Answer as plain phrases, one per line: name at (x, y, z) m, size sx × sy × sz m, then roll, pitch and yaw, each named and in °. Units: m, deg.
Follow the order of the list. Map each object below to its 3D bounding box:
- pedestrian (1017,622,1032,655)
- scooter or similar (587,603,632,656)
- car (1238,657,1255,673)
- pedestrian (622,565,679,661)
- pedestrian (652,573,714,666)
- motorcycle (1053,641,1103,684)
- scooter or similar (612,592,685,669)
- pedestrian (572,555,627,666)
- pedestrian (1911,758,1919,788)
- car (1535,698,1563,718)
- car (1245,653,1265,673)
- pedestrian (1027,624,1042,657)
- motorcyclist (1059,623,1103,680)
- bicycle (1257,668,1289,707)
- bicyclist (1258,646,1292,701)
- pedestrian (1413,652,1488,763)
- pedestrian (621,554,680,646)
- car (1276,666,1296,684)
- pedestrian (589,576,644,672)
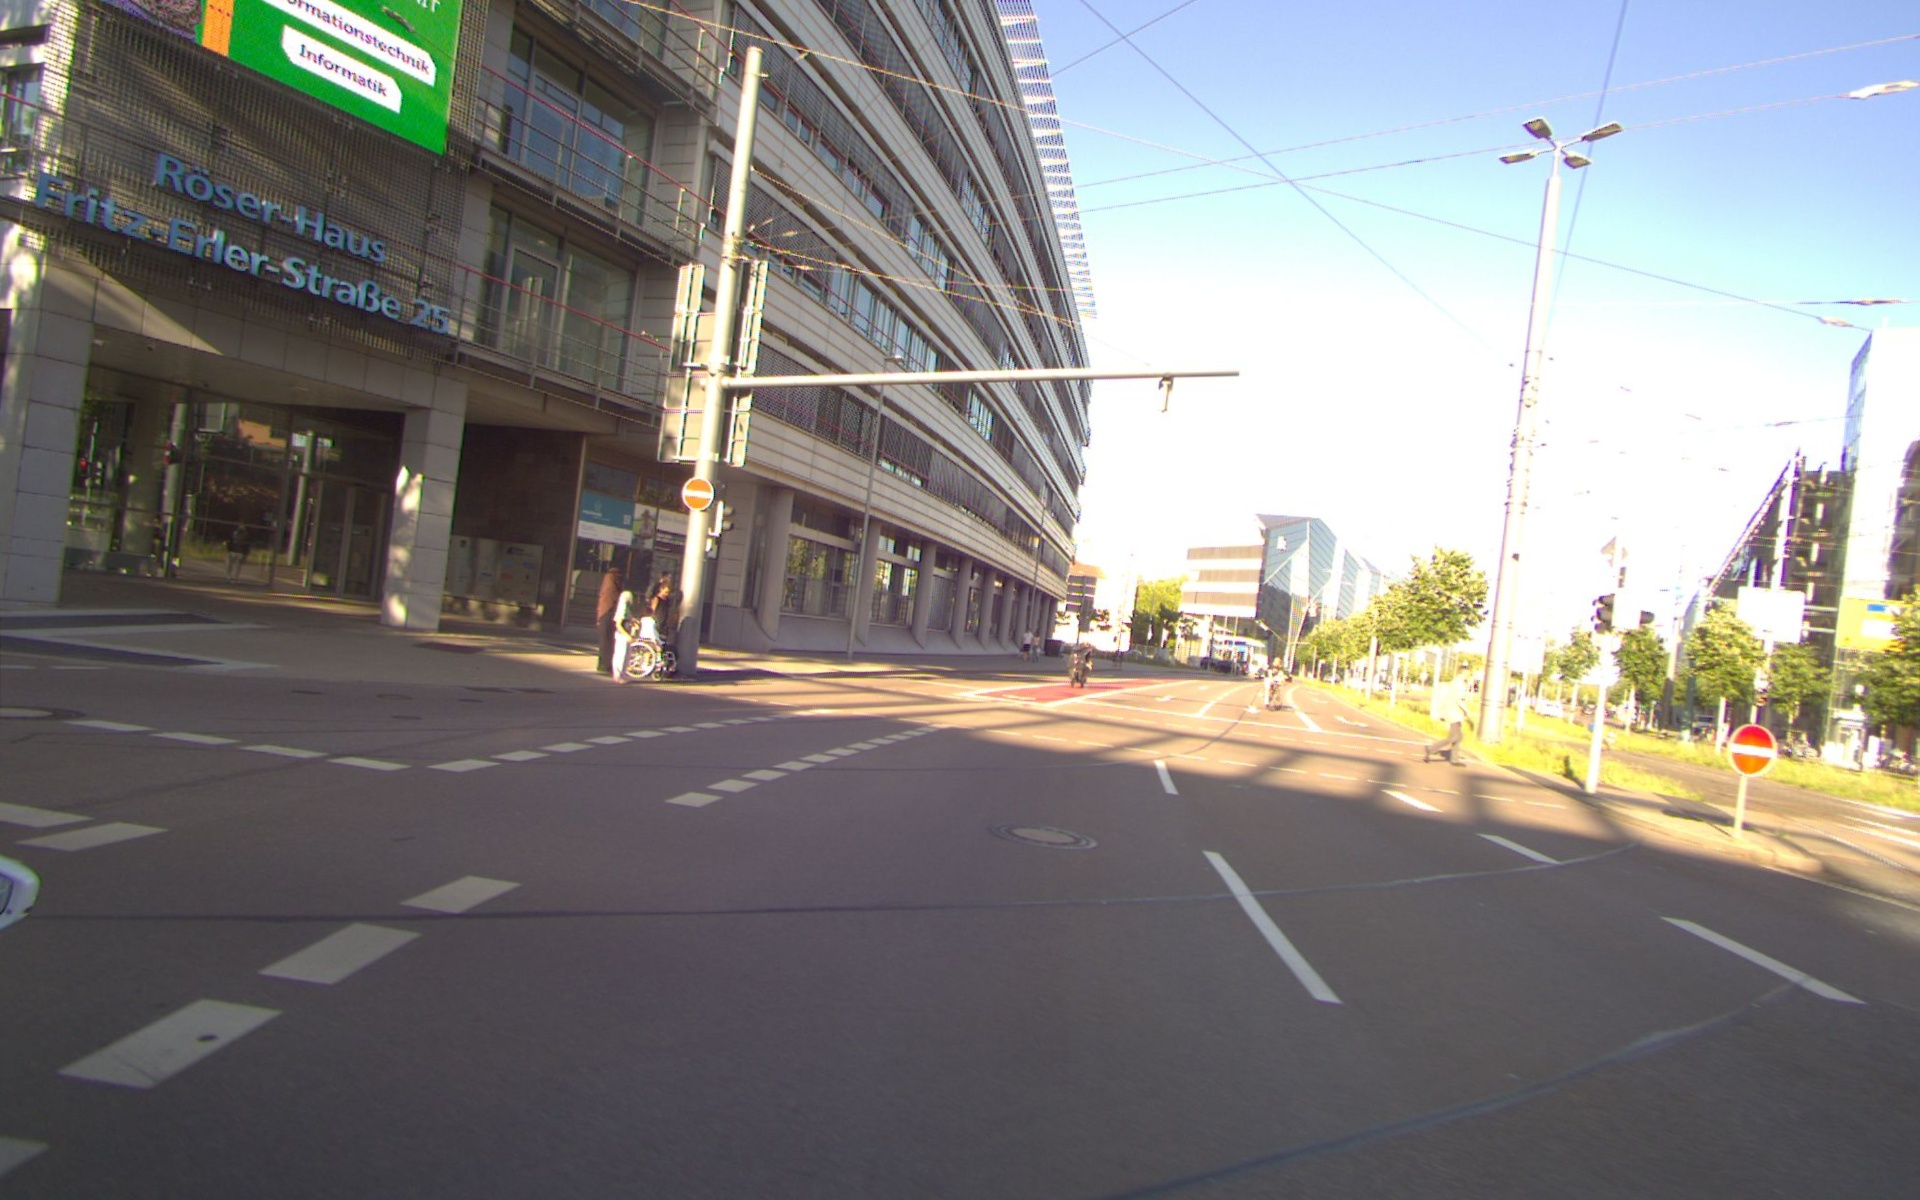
pedestrian at (3.535, 2.119, 55.083) m, size 0.539 × 1.755 × 0.642 m, roll 8°, pitch 1°, yaw 12°
scooter or similar at (-6.242, 0.520, 17.914) m, size 0.610 × 0.800 × 0.656 m, roll 9°, pitch 0°, yaw -24°
car at (36.489, 8.228, 128.081) m, size 1.857 × 1.616 × 4.000 m, roll 8°, pitch 1°, yaw 17°
pedestrian at (-5.608, 0.228, 18.192) m, size 0.695 × 1.620 × 0.656 m, roll 9°, pitch 1°, yaw -24°
pedestrian at (-5.178, 0.366, 18.823) m, size 0.709 × 1.637 × 0.655 m, roll 8°, pitch 1°, yaw 15°
motorcycle at (3.969, 2.056, 33.599) m, size 0.968 × 1.247 × 2.944 m, roll 8°, pitch 0°, yaw 17°
scooter or similar at (-5.268, 0.510, 17.013) m, size 1.005 × 1.143 × 0.547 m, roll 7°, pitch 1°, yaw -23°
pedestrian at (-5.986, 0.165, 16.679) m, size 0.630 × 1.730 × 0.578 m, roll 7°, pitch 1°, yaw -23°
pedestrian at (53.847, 9.717, 56.228) m, size 0.696 × 1.589 × 0.621 m, roll 8°, pitch 2°, yaw 33°
car at (55.332, 10.136, 94.486) m, size 1.874 × 1.526 × 3.997 m, roll 9°, pitch 0°, yaw 28°
car at (30.621, 6.538, 104.542) m, size 1.740 × 1.745 × 3.907 m, roll 8°, pitch 1°, yaw 15°
pedestrian at (4.084, 2.210, 54.975) m, size 0.539 × 1.755 × 0.642 m, roll 8°, pitch 1°, yaw 12°
motorcyclist at (4.051, 1.722, 33.665) m, size 1.003 × 1.752 × 1.461 m, roll 8°, pitch 0°, yaw 17°
bicycle at (10.560, 2.936, 33.956) m, size 0.632 × 1.121 × 1.685 m, roll 8°, pitch 0°, yaw 8°
bicyclist at (10.627, 2.462, 33.972) m, size 0.752 × 1.688 × 0.994 m, roll 8°, pitch 1°, yaw 8°
pedestrian at (8.783, 1.904, 18.052) m, size 0.868 × 1.846 × 0.677 m, roll 7°, pitch 0°, yaw 12°
pedestrian at (-6.251, 0.002, 20.322) m, size 0.679 × 1.736 × 0.644 m, roll 9°, pitch 1°, yaw 33°
car at (36.976, 8.477, 114.155) m, size 1.851 × 1.622 × 4.000 m, roll 8°, pitch 1°, yaw 18°
pedestrian at (-5.428, 0.376, 15.883) m, size 0.630 × 1.419 × 0.543 m, roll 7°, pitch 1°, yaw -23°
